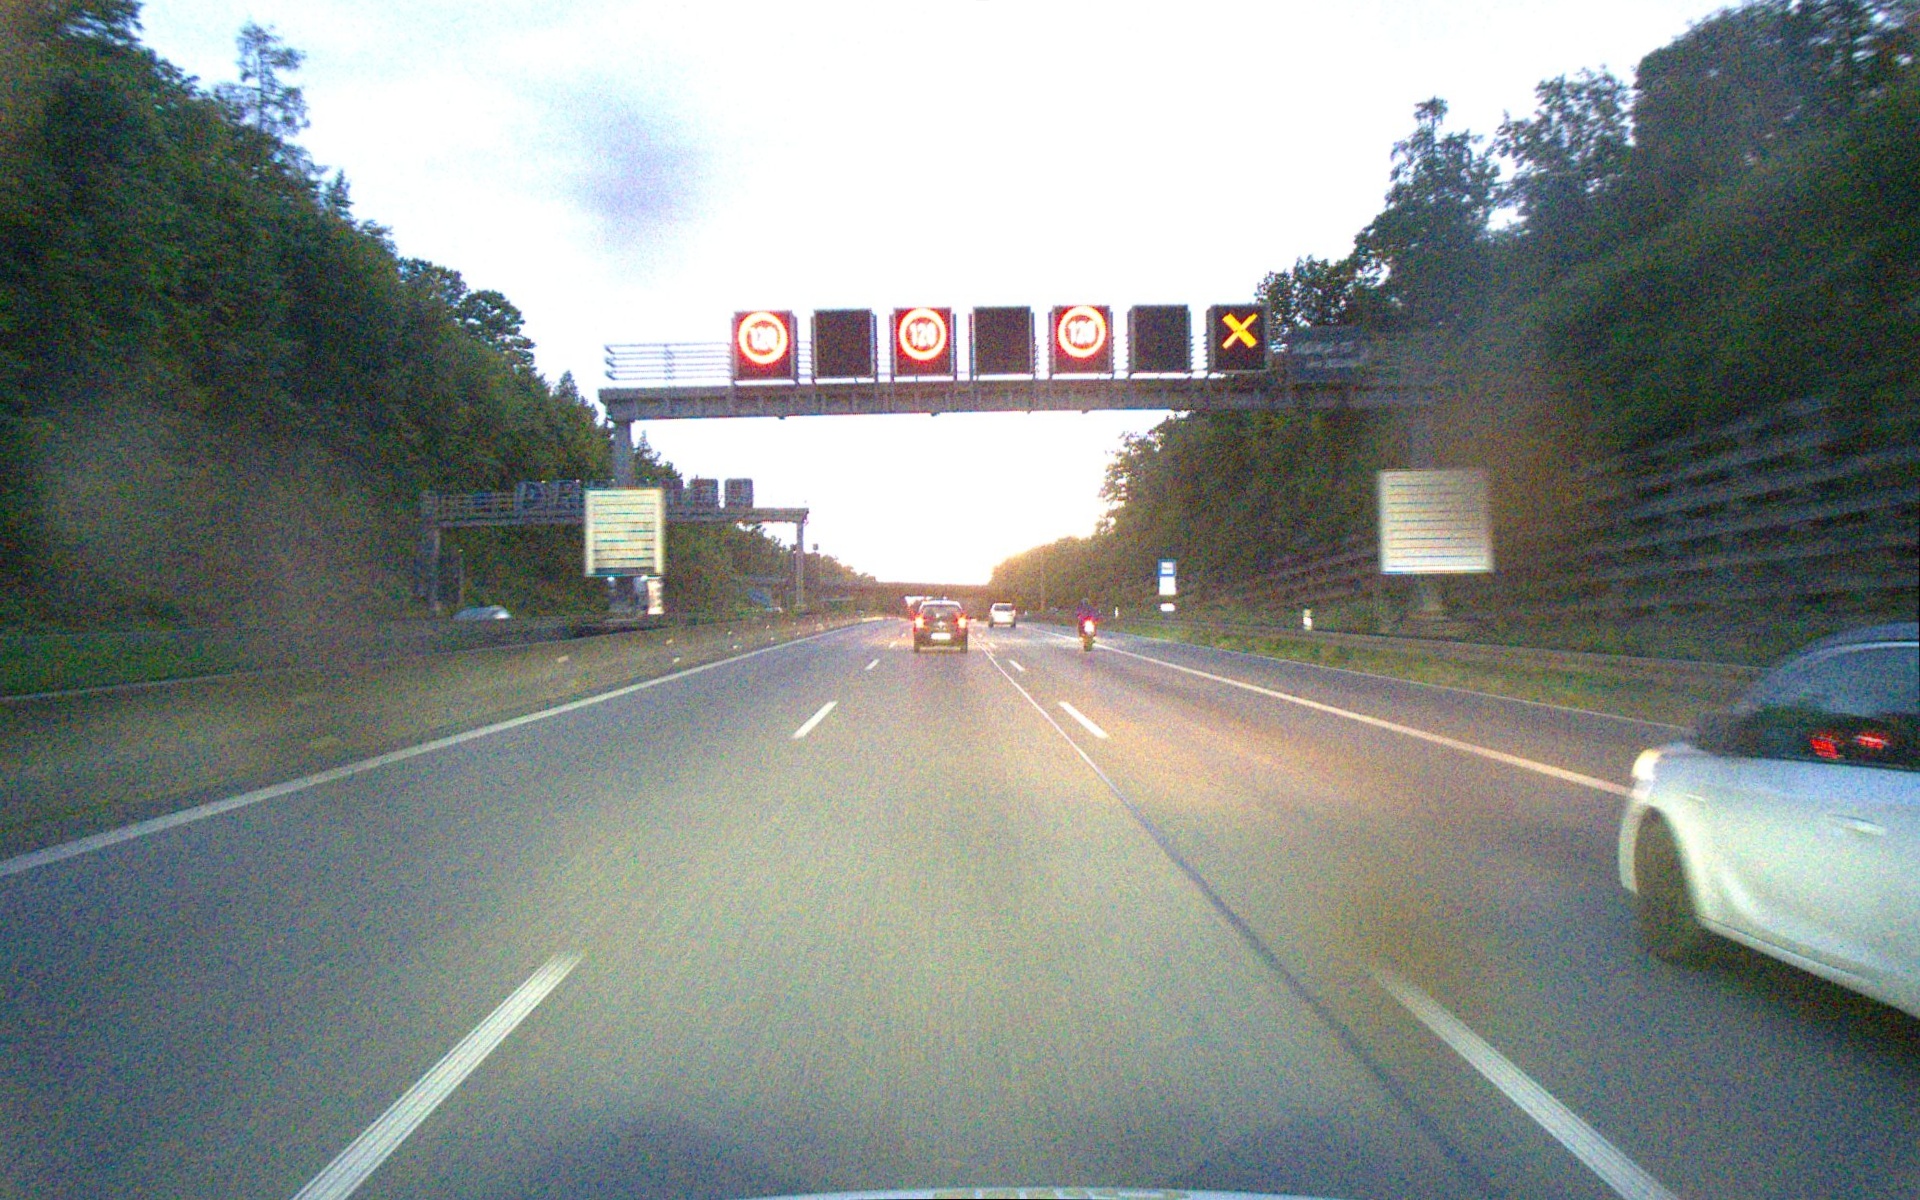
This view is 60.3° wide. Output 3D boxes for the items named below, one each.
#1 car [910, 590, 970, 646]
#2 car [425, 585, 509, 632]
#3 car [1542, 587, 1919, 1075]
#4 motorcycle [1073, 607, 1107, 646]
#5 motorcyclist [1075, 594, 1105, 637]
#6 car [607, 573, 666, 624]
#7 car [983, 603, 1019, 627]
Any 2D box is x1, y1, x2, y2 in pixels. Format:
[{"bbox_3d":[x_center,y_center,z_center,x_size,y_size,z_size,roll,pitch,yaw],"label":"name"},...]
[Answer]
[{"bbox_3d":[-0.593,0.537,49.102,1.669,1.536,4.231,1,-1,-1],"label":"car"},{"bbox_3d":[-19.161,0.303,64.456,1.953,1.766,4.572,0,0,-1],"label":"car"},{"bbox_3d":[3.873,0.717,6.207,1.788,1.501,4.398,0,1,-1],"label":"car"},{"bbox_3d":[4.001,0.808,51.066,0.813,1.154,2.475,0,0,-1],"label":"motorcycle"},{"bbox_3d":[4.002,0.480,51.000,0.813,1.314,1.190,0,0,-1],"label":"motorcyclist"},{"bbox_3d":[-19.490,-0.071,100.066,1.941,2.931,7.834,-1,0,1],"label":"car"},{"bbox_3d":[2.625,0.978,106.881,1.829,1.520,4.394,1,-1,-5],"label":"car"}]
